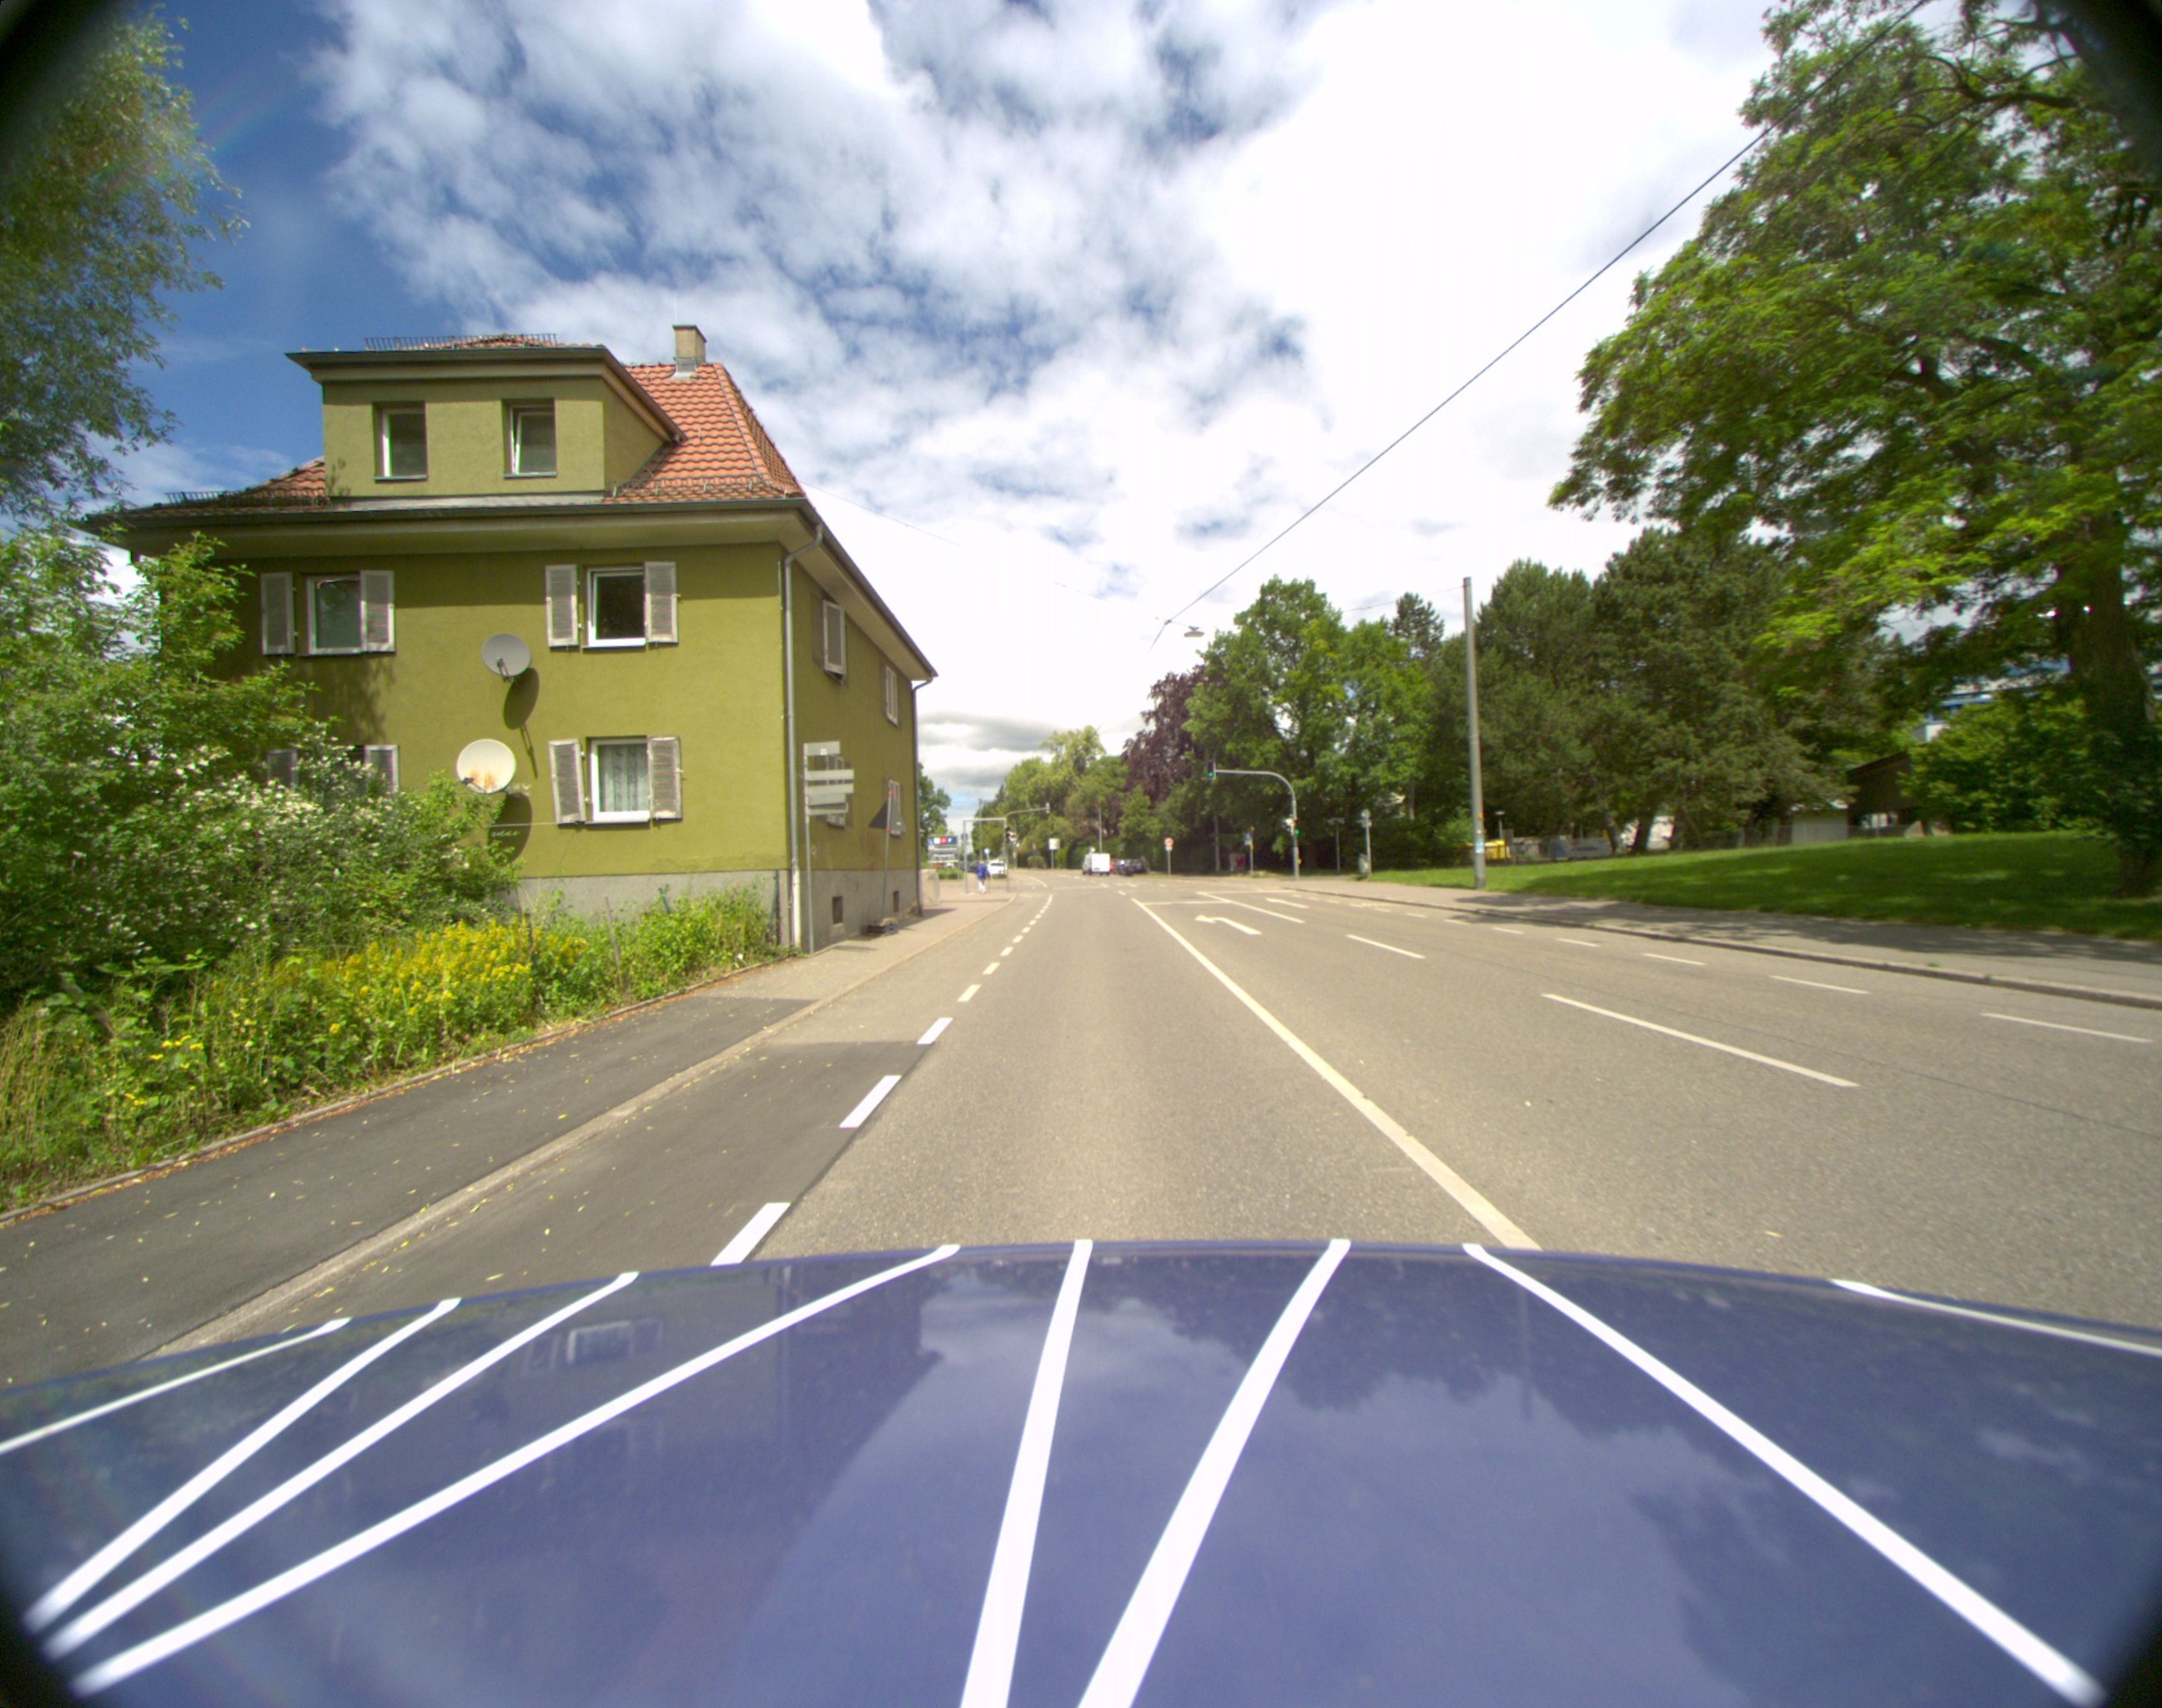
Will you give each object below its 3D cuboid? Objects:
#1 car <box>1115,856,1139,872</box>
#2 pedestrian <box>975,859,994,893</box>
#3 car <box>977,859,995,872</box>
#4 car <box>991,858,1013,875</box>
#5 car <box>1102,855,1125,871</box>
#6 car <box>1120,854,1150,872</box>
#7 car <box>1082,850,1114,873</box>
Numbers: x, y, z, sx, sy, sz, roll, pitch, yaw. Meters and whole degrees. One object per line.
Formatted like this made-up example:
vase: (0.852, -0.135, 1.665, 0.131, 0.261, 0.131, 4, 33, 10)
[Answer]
car: (4.359, 0.912, 72.586, 1.560, 1.404, 3.191, -3, 1, -9)
pedestrian: (-4.635, 1.045, 36.604, 0.826, 1.563, 0.987, -1, 1, -4)
car: (-12.230, 1.412, 97.293, 1.707, 1.522, 3.995, -3, 0, -15)
car: (-7.219, 1.103, 68.962, 1.796, 1.522, 3.918, 1, 0, -9)
car: (3.292, 0.905, 77.058, 1.524, 1.469, 3.321, -3, 0, -12)
car: (4.750, 0.762, 67.803, 1.688, 1.407, 4.398, -3, 1, -9)
car: (1.513, 0.690, 70.077, 2.000, 2.011, 5.346, -1, 0, -10)
